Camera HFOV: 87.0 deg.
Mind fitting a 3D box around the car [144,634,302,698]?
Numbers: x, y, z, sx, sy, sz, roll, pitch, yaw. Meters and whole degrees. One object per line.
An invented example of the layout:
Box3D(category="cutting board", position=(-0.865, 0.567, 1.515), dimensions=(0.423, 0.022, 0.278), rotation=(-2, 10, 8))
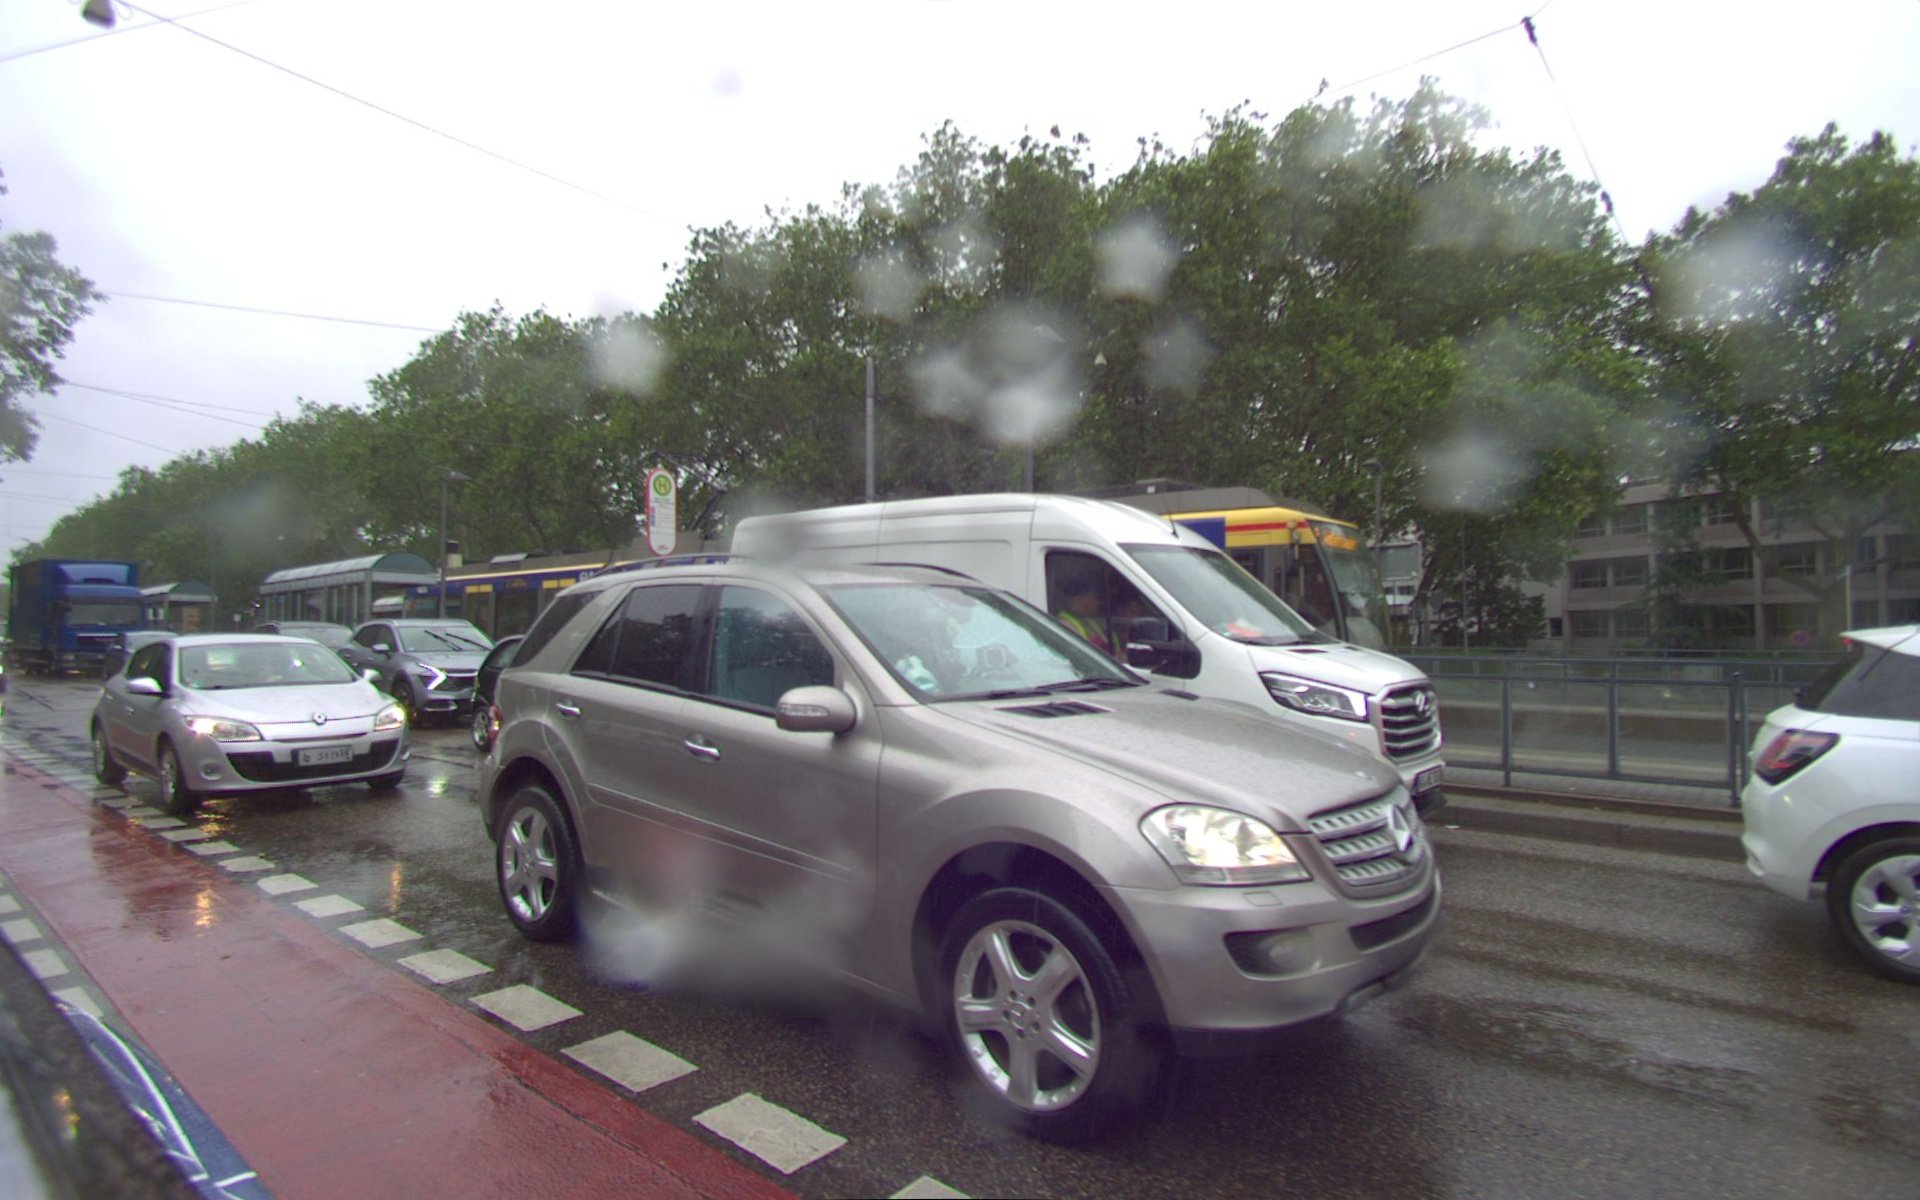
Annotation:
Box3D(category="car", position=(-17.750, 1.529, 24.306), dimensions=(4.602, 1.405, 1.973), rotation=(-2, -3, 40))

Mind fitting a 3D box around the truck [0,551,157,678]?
Box3D(category="truck", position=(-31.038, 0.623, 35.389), dimensions=(9.803, 3.919, 2.513), rotation=(-2, -4, 40))

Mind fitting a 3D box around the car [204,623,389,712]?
Box3D(category="car", position=(-13.598, 1.307, 20.653), dimensions=(4.316, 1.633, 1.973), rotation=(-2, -3, 40))

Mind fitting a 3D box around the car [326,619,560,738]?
Box3D(category="car", position=(-8.376, 1.166, 16.214), dimensions=(4.454, 1.636, 1.894), rotation=(-2, -3, 43))

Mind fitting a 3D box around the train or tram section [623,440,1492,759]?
Box3D(category="train or tram section", position=(0.096, 0.151, 17.268), dimensions=(15.491, 3.439, 3.505), rotation=(-2, -1, 40))

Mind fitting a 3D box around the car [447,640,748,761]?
Box3D(category="car", position=(-4.315, 1.051, 11.731), dimensions=(4.084, 1.126, 1.448), rotation=(-2, -1, 40))

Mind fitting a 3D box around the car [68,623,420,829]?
Box3D(category="car", position=(-6.773, 0.982, 9.419), dimensions=(3.998, 1.489, 1.750), rotation=(-2, -1, 40))

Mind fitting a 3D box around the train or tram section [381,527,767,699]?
Box3D(category="train or tram section", position=(-10.774, 0.401, 26.633), dimensions=(13.652, 3.539, 3.476), rotation=(-2, -1, 41))

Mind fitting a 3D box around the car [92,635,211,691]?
Box3D(category="car", position=(-23.378, 1.753, 29.216), dimensions=(4.074, 1.498, 1.871), rotation=(-2, -2, 40))

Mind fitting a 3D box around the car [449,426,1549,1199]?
Box3D(category="car", position=(-0.207, 0.574, 4.366), dimensions=(4.459, 1.784, 2.004), rotation=(-2, -1, 40))

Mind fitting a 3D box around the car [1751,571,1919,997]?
Box3D(category="car", position=(5.304, 0.694, 3.590), dimensions=(3.834, 1.641, 1.628), rotation=(-2, -2, 41))

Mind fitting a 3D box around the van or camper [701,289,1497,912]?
Box3D(category="van or camper", position=(0.661, 0.083, 7.837), dimensions=(5.846, 3.166, 2.136), rotation=(-2, -3, 40))

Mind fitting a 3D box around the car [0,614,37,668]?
Box3D(category="car", position=(-45.542, 1.931, 48.146), dimensions=(5.727, 2.445, 1.972), rotation=(-2, -1, 43))
